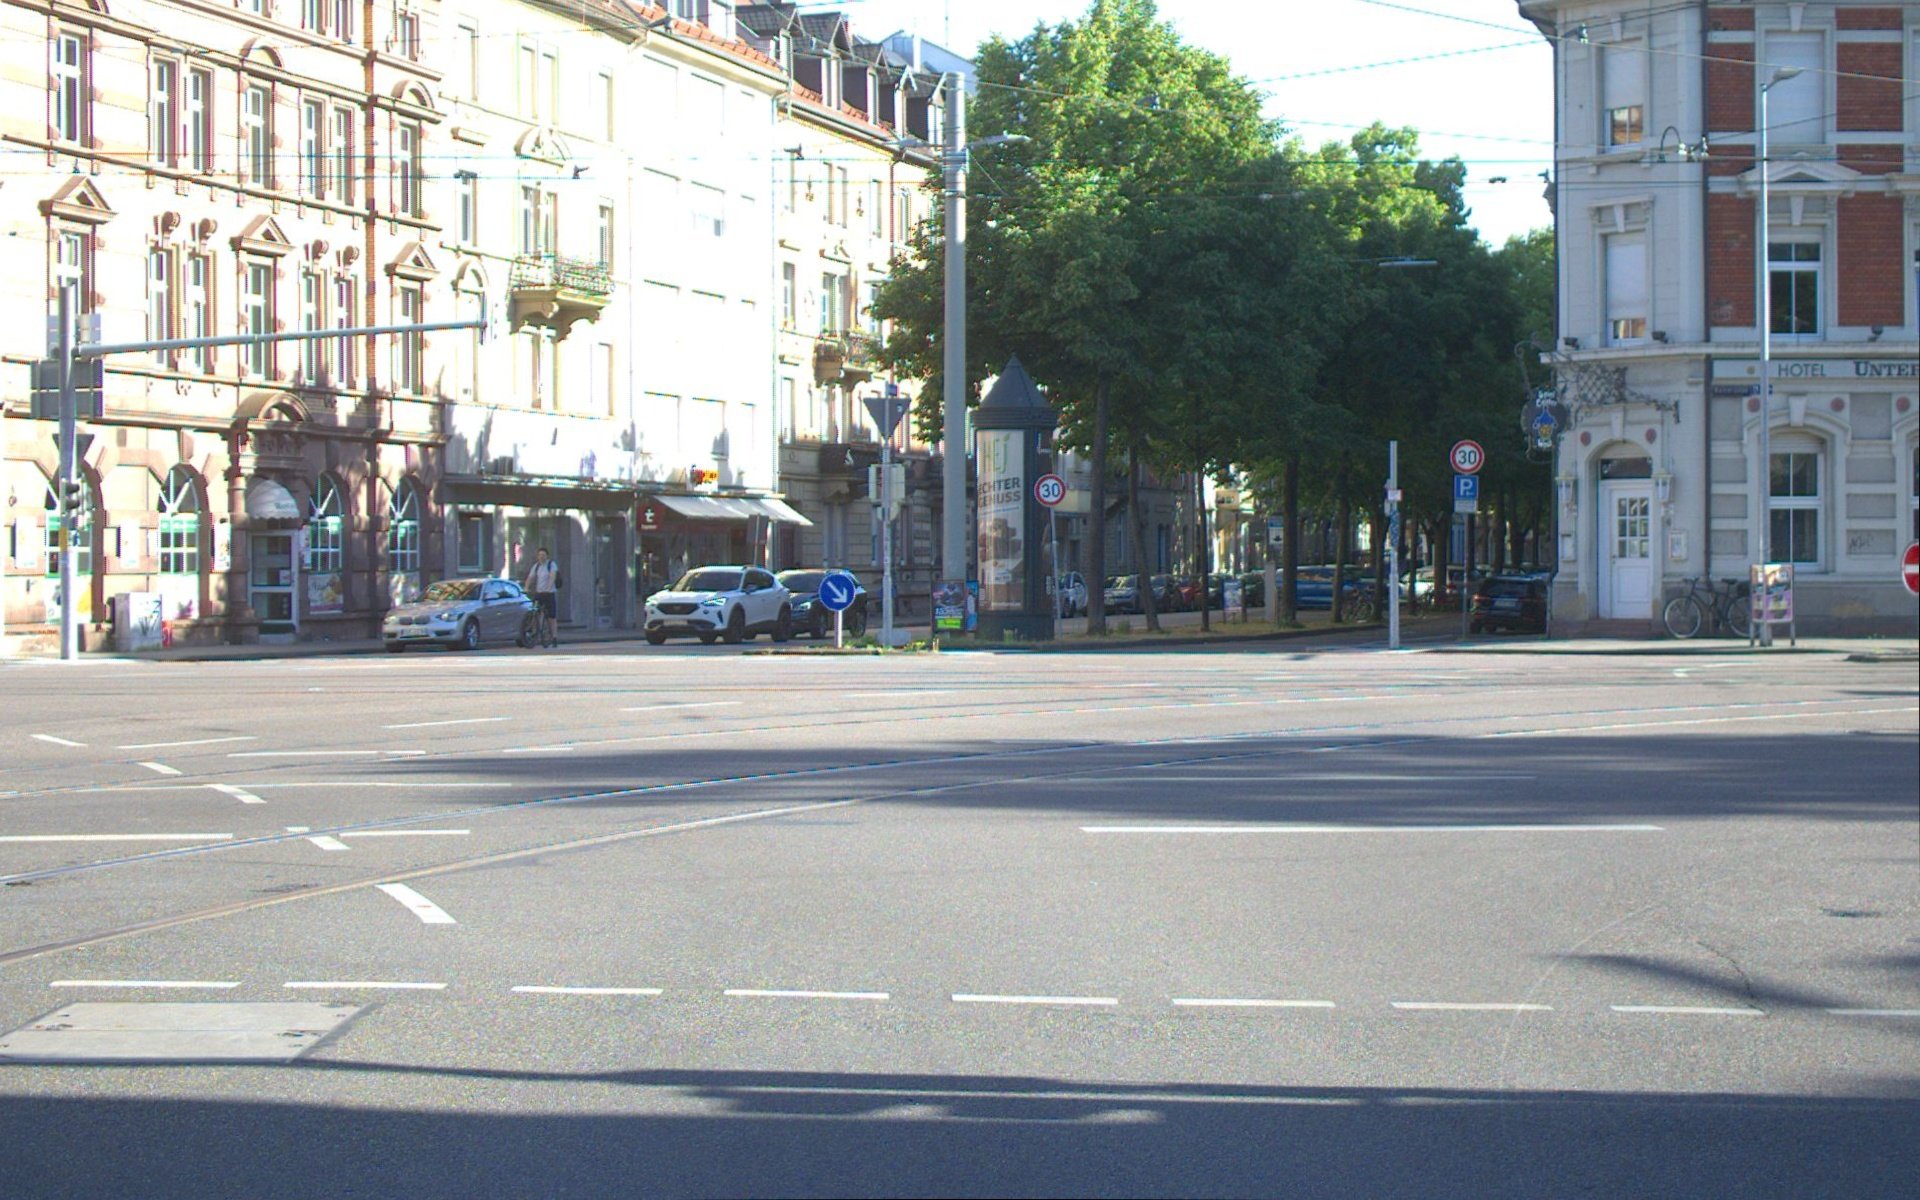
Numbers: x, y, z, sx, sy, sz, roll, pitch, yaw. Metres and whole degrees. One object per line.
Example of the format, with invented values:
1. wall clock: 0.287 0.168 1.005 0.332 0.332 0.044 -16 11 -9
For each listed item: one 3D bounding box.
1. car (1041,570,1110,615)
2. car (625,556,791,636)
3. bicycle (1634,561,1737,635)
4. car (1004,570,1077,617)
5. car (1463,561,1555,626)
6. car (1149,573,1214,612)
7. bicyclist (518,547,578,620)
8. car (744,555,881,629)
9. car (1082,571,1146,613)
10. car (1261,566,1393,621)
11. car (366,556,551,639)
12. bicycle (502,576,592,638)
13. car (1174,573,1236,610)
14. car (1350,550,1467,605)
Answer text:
1. car: 3.921 -0.257 115.808 1.741 1.393 4.122 3 1 9
2. car: -4.878 -0.105 67.168 2.098 1.494 3.998 0 1 14
3. bicycle: 12.062 -0.036 57.136 1.639 1.218 0.606 0 1 16
4. car: 2.597 -0.218 110.003 1.741 1.393 4.122 3 1 9
5. car: 13.168 -0.158 82.288 1.652 1.519 3.750 0 0 17
6. car: 8.509 -0.314 131.609 1.742 1.393 4.121 3 1 13
7. bicyclist: -7.853 -0.316 65.593 0.794 1.370 1.107 0 1 14
8. car: -3.129 -0.192 73.535 1.994 1.508 3.998 0 1 12
9. car: 5.508 -0.304 122.785 1.741 1.393 4.122 3 1 9
10. car: 12.292 -0.228 115.227 4.113 1.640 1.745 3 1 15
11. car: -9.777 -0.073 67.382 2.098 1.540 4.361 0 1 14
12. bicycle: -7.866 0.125 65.631 0.751 1.131 2.808 0 1 14
13. car: 9.727 -0.350 136.388 1.742 1.393 4.121 3 1 13
14. car: 17.410 -0.878 133.426 4.115 1.912 1.744 3 1 21
